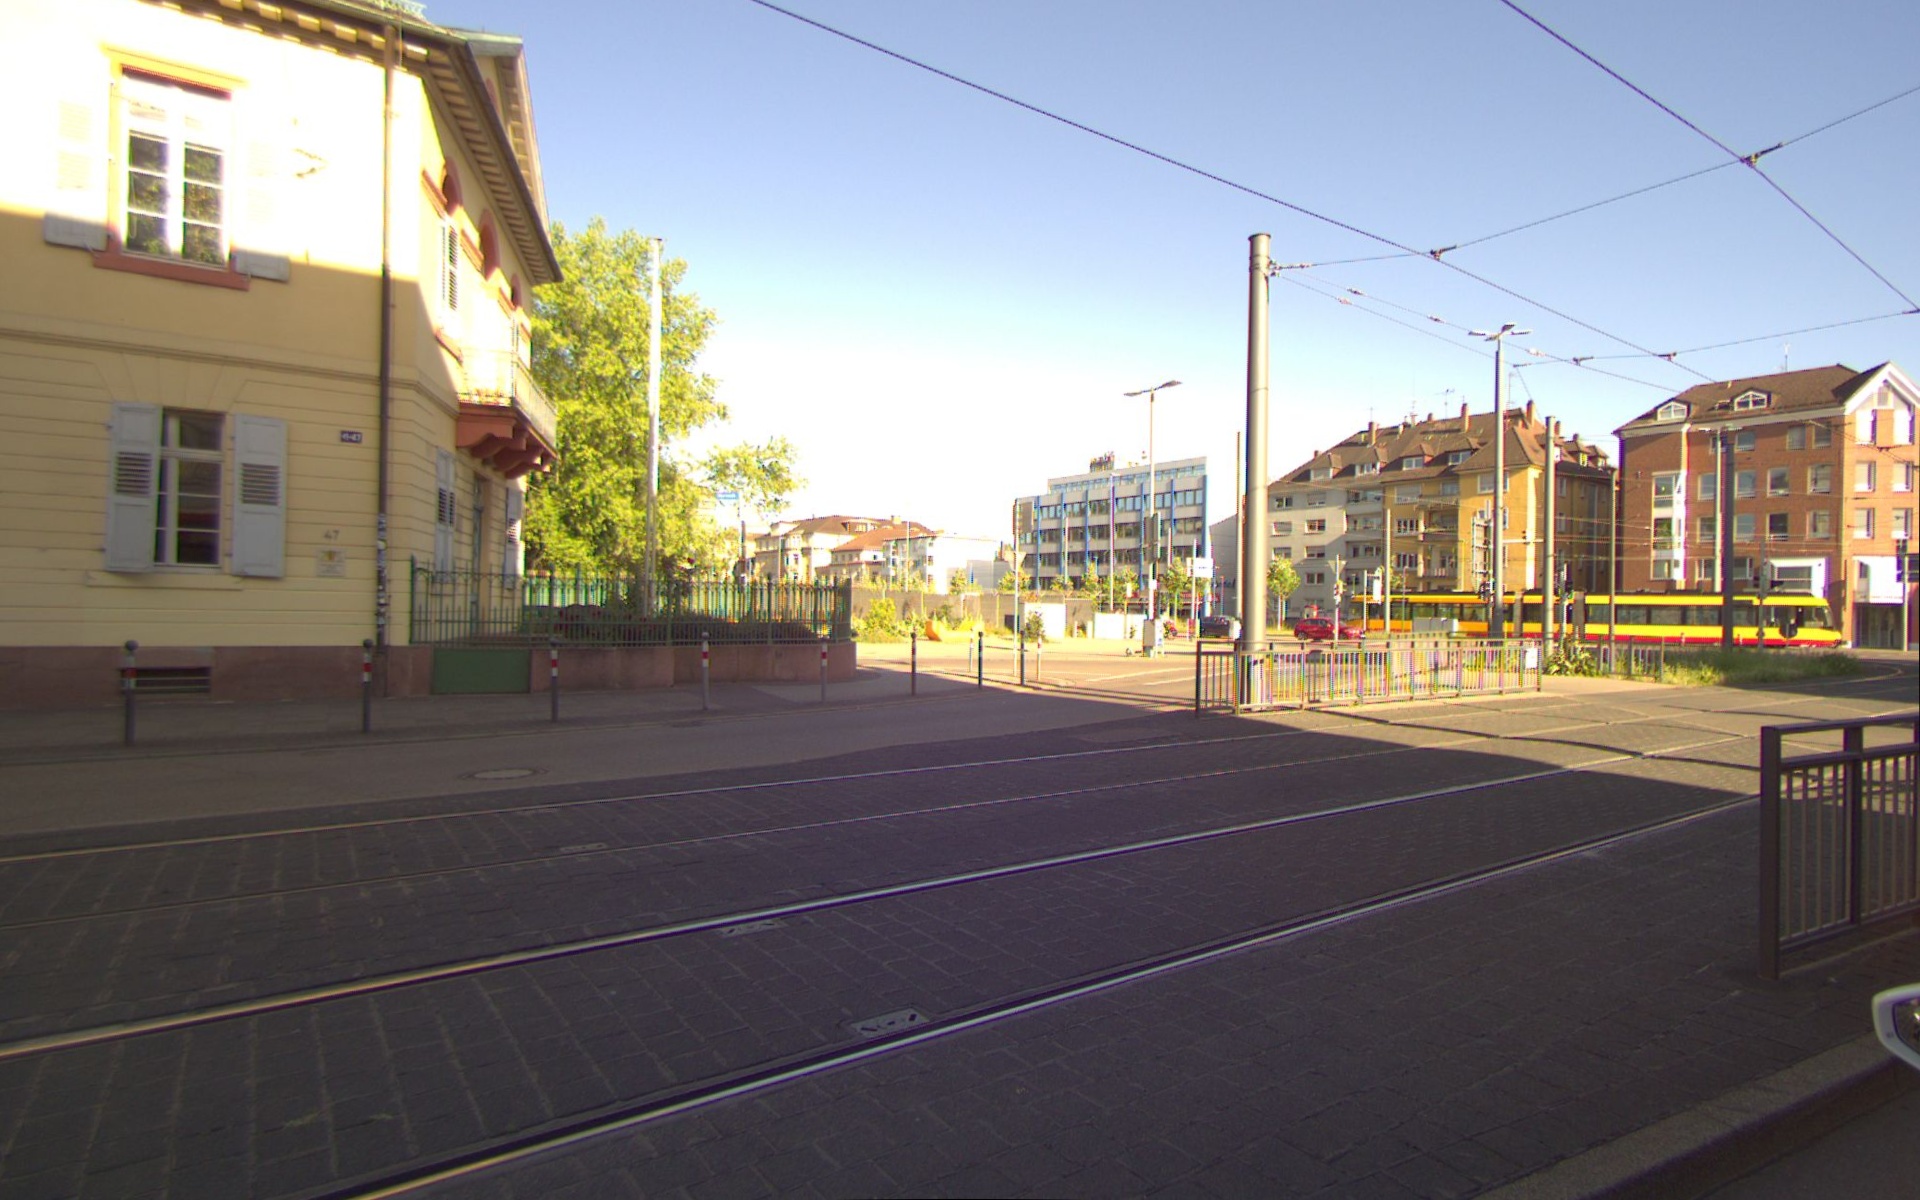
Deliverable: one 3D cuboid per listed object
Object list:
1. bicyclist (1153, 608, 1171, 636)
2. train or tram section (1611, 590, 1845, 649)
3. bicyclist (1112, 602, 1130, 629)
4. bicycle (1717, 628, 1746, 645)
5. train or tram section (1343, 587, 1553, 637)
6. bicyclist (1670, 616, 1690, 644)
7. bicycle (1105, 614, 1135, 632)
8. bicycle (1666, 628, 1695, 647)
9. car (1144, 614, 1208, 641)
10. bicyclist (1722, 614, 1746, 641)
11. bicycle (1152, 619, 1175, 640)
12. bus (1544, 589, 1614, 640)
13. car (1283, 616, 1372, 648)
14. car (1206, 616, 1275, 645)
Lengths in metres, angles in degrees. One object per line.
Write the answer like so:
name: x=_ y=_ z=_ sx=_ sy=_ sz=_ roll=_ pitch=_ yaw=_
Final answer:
bicyclist: x=12.820 y=1.400 z=63.709 sx=0.748 sy=1.783 sz=0.749 roll=2 pitch=0 yaw=-23
train or tram section: x=46.338 y=1.083 z=61.265 sx=11.078 sy=3.172 sz=2.797 roll=2 pitch=0 yaw=34
bicyclist: x=11.211 y=1.093 z=70.111 sx=0.785 sy=1.832 sz=0.892 roll=2 pitch=0 yaw=-42
bicycle: x=45.204 y=2.148 z=58.828 sx=2.220 sy=0.984 sz=0.521 roll=2 pitch=0 yaw=-31
train or tram section: x=34.481 y=0.780 z=71.940 sx=2.713 sy=3.172 sz=13.551 roll=2 pitch=0 yaw=-41
bicyclist: x=39.627 y=1.635 z=55.288 sx=0.688 sy=1.523 sz=0.630 roll=2 pitch=0 yaw=-30
bicycle: x=11.164 y=1.593 z=70.146 sx=0.542 sy=1.230 sz=2.168 roll=2 pitch=0 yaw=-41
bicycle: x=39.672 y=2.054 z=55.310 sx=2.220 sy=0.984 sz=0.444 roll=2 pitch=0 yaw=-31
car: x=14.735 y=1.864 z=68.568 sx=1.895 sy=1.708 sz=3.916 roll=2 pitch=0 yaw=-41
bicyclist: x=45.371 y=1.595 z=58.901 sx=0.688 sy=1.523 sz=0.894 roll=2 pitch=0 yaw=-30
bicycle: x=12.880 y=1.869 z=63.530 sx=0.478 sy=1.238 sz=1.845 roll=2 pitch=0 yaw=-21
bus: x=40.375 y=0.925 z=65.514 sx=3.474 sy=3.172 sz=2.759 roll=2 pitch=0 yaw=39
car: x=21.861 y=1.877 z=59.895 sx=1.984 sy=1.723 sz=4.545 roll=2 pitch=0 yaw=-41
car: x=17.995 y=1.934 z=64.577 sx=1.762 sy=1.694 sz=3.955 roll=2 pitch=0 yaw=-39
